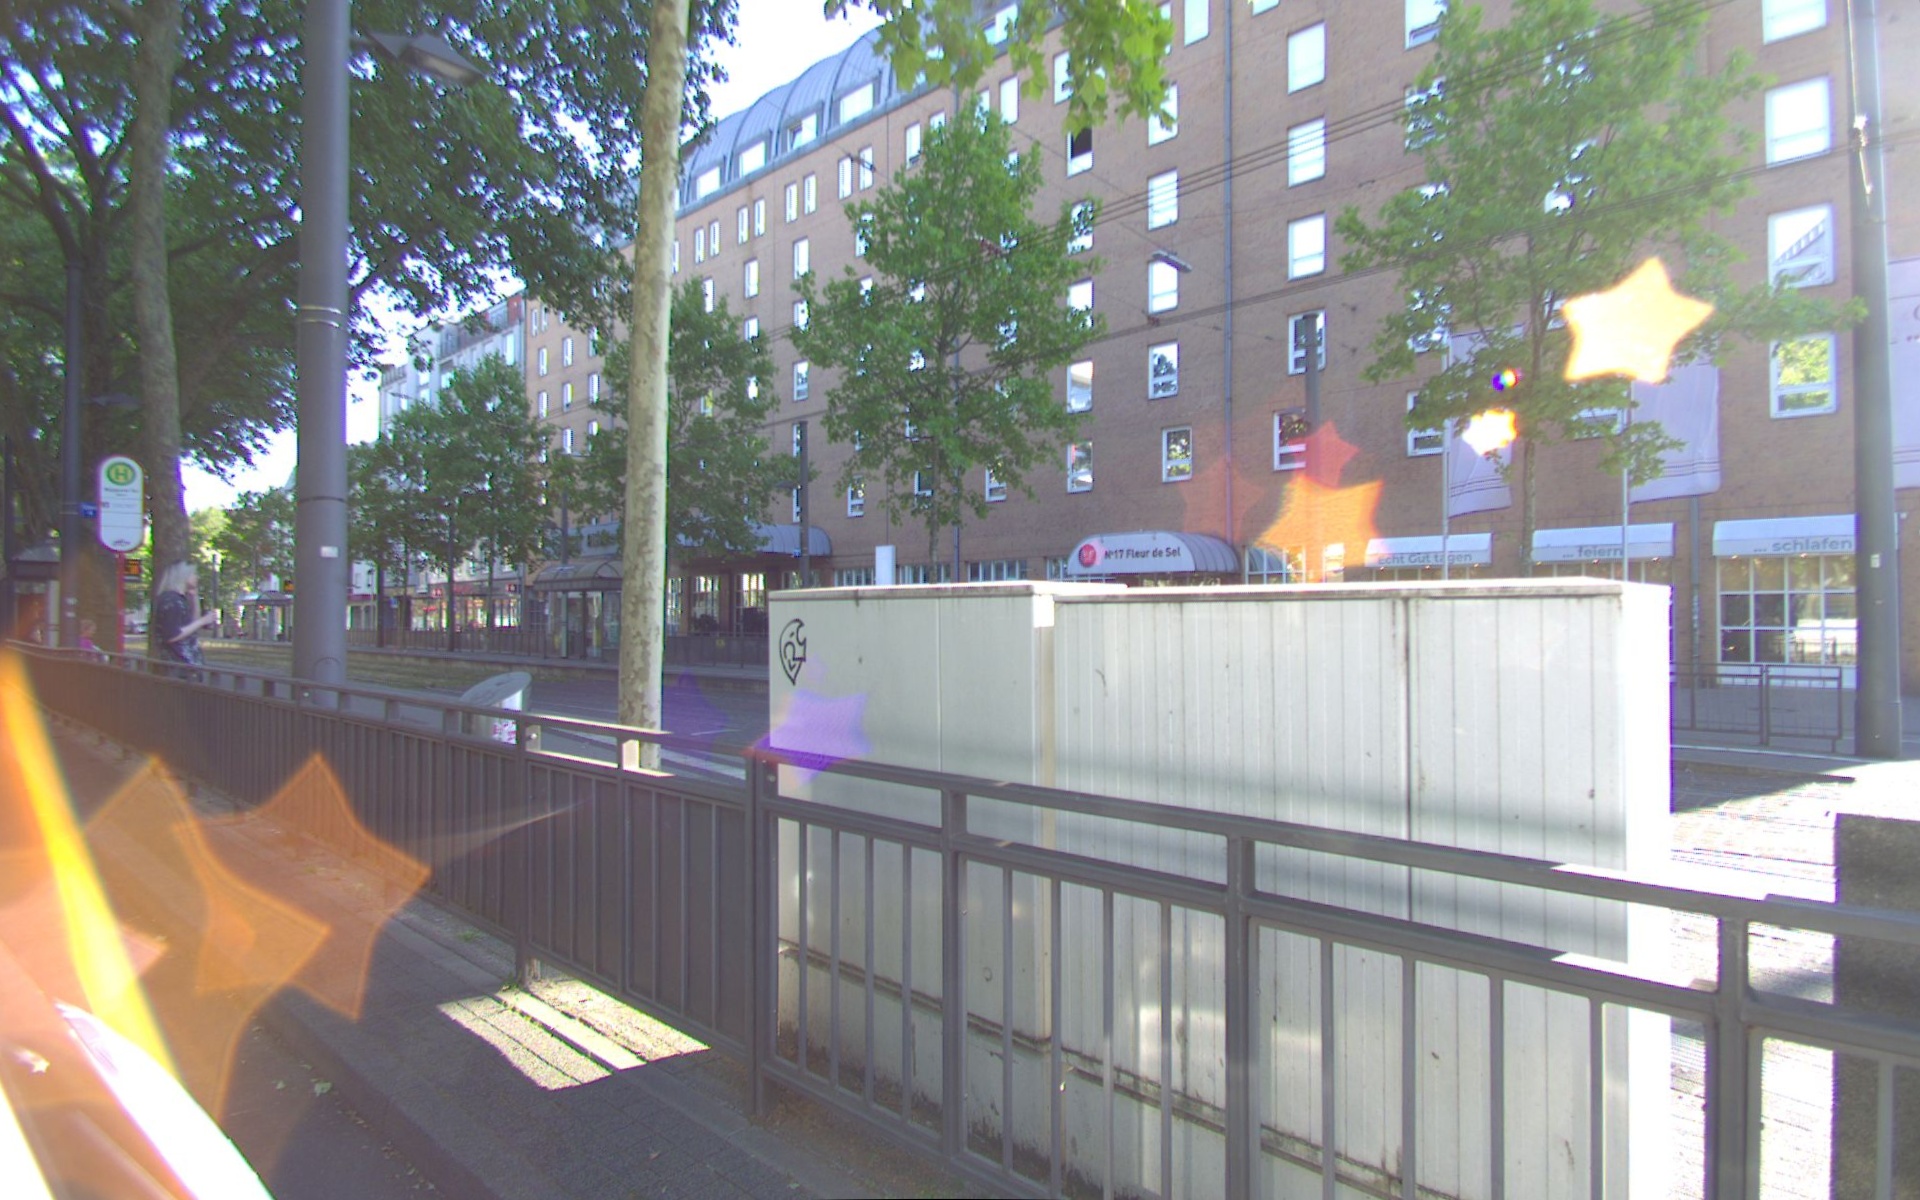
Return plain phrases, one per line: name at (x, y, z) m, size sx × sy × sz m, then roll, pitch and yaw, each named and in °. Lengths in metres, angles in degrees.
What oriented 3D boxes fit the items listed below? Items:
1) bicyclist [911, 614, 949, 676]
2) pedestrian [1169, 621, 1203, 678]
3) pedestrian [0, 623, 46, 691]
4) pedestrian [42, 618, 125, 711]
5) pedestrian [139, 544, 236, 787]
bicyclist at (-0.890, 1.341, 30.177) m, size 0.852 × 1.799 × 0.742 m, roll -2°, pitch -3°, yaw 44°
pedestrian at (6.534, 1.415, 29.274) m, size 0.725 × 1.596 × 0.583 m, roll -3°, pitch 0°, yaw 40°
pedestrian at (-20.145, 1.206, 21.742) m, size 0.725 × 1.398 × 0.641 m, roll -1°, pitch 0°, yaw -44°
pedestrian at (-14.053, 1.009, 16.227) m, size 0.965 × 1.410 × 0.665 m, roll -1°, pitch 0°, yaw -44°
pedestrian at (-6.433, 0.514, 8.421) m, size 0.760 × 1.914 × 0.504 m, roll -1°, pitch 0°, yaw 42°
